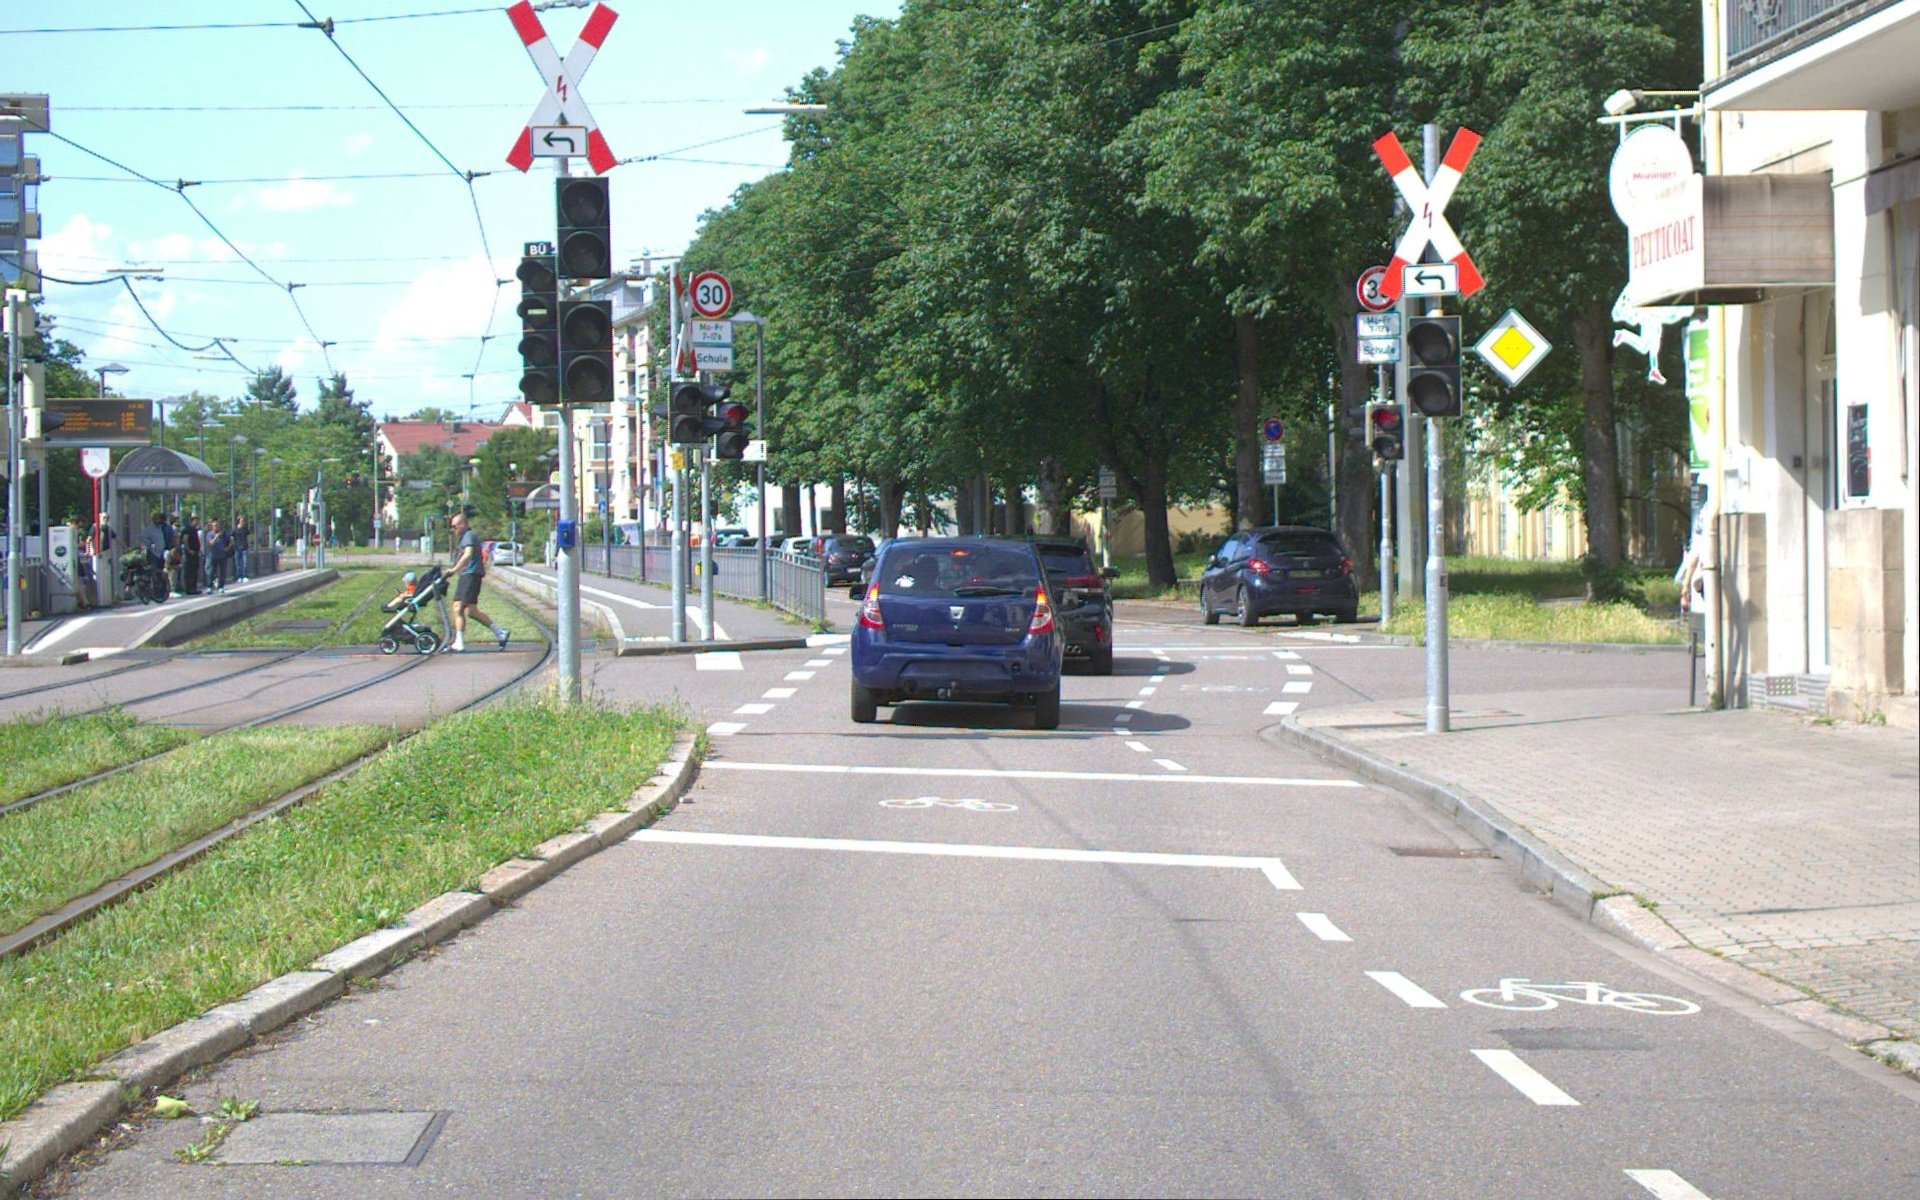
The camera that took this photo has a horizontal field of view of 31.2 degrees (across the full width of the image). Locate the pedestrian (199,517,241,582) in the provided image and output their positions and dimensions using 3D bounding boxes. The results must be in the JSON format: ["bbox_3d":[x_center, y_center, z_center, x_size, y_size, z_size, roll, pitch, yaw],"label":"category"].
[{"bbox_3d":[-16.376,-1.120,76.083,0.655,1.421,0.562,-1,1,29],"label":"pedestrian"}]

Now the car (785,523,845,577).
[{"bbox_3d":[-4.845,-1.679,114.720,1.617,1.744,4.001,-1,1,-7],"label":"car"}]

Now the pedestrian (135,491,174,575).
[{"bbox_3d":[-16.458,-1.365,70.249,0.655,1.686,0.656,-2,1,-7],"label":"pedestrian"}]

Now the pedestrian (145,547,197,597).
[{"bbox_3d":[-16.401,-0.582,71.452,0.924,0.985,0.797,-2,0,-6],"label":"pedestrian"}]

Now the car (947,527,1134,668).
[{"bbox_3d":[0.814,-0.064,36.784,1.700,1.363,3.515,-2,2,-3],"label":"car"}]

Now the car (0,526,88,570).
[{"bbox_3d":[-32.275,-1.787,118.364,3.989,1.442,1.727,-2,2,-42],"label":"car"}]

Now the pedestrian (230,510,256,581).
[{"bbox_3d":[-20.544,-1.572,98.525,0.660,2.007,0.804,-1,1,-13],"label":"pedestrian"}]

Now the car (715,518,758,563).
[{"bbox_3d":[-9.059,-2.409,139.298,1.667,1.766,4.001,-1,1,-4],"label":"car"}]

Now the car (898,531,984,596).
[{"bbox_3d":[-0.482,-0.902,83.500,1.861,1.440,4.001,-2,1,-3],"label":"car"}]

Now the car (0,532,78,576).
[{"bbox_3d":[-31.183,-1.518,113.207,1.637,1.381,3.992,0,2,37],"label":"car"}]

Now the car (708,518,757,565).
[{"bbox_3d":[-8.801,-2.283,133.187,1.830,1.755,4.001,-1,1,-3],"label":"car"}]

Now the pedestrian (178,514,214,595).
[{"bbox_3d":[-16.760,-1.007,75.454,0.604,1.760,0.639,-1,1,1],"label":"pedestrian"}]

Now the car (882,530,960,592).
[{"bbox_3d":[-1.024,-1.014,88.205,1.851,1.510,4.001,-1,1,-3],"label":"car"}]

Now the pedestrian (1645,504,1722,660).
[{"bbox_3d":[7.747,-0.195,36.811,0.673,1.642,0.763,-1,1,20],"label":"pedestrian"}]

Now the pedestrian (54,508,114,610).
[{"bbox_3d":[-14.973,-0.701,58.776,0.713,1.720,0.666,0,1,34],"label":"pedestrian"}]

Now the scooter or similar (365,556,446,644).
[{"bbox_3d":[-6.894,-0.004,42.762,0.954,1.061,0.797,-1,1,-8],"label":"scooter or similar"}]

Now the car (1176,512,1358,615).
[{"bbox_3d":[4.520,-0.565,51.108,1.765,1.428,3.905,-2,1,-9],"label":"car"}]

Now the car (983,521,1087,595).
[{"bbox_3d":[1.542,-0.904,72.154,1.861,1.440,4.001,-2,1,-3],"label":"car"}]

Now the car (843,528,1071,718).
[{"bbox_3d":[-0.042,0.138,28.748,1.768,1.457,3.776,1,1,-1],"label":"car"}]

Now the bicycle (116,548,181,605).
[{"bbox_3d":[-14.971,-0.442,63.449,0.686,0.971,1.771,-3,2,2],"label":"bicycle"}]

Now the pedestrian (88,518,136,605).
[{"bbox_3d":[-15.730,-0.719,63.799,0.663,1.564,0.686,-2,1,0],"label":"pedestrian"}]

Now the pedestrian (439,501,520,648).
[{"bbox_3d":[-6.026,-0.324,43.187,0.870,1.769,1.004,-4,1,-6],"label":"pedestrian"}]
